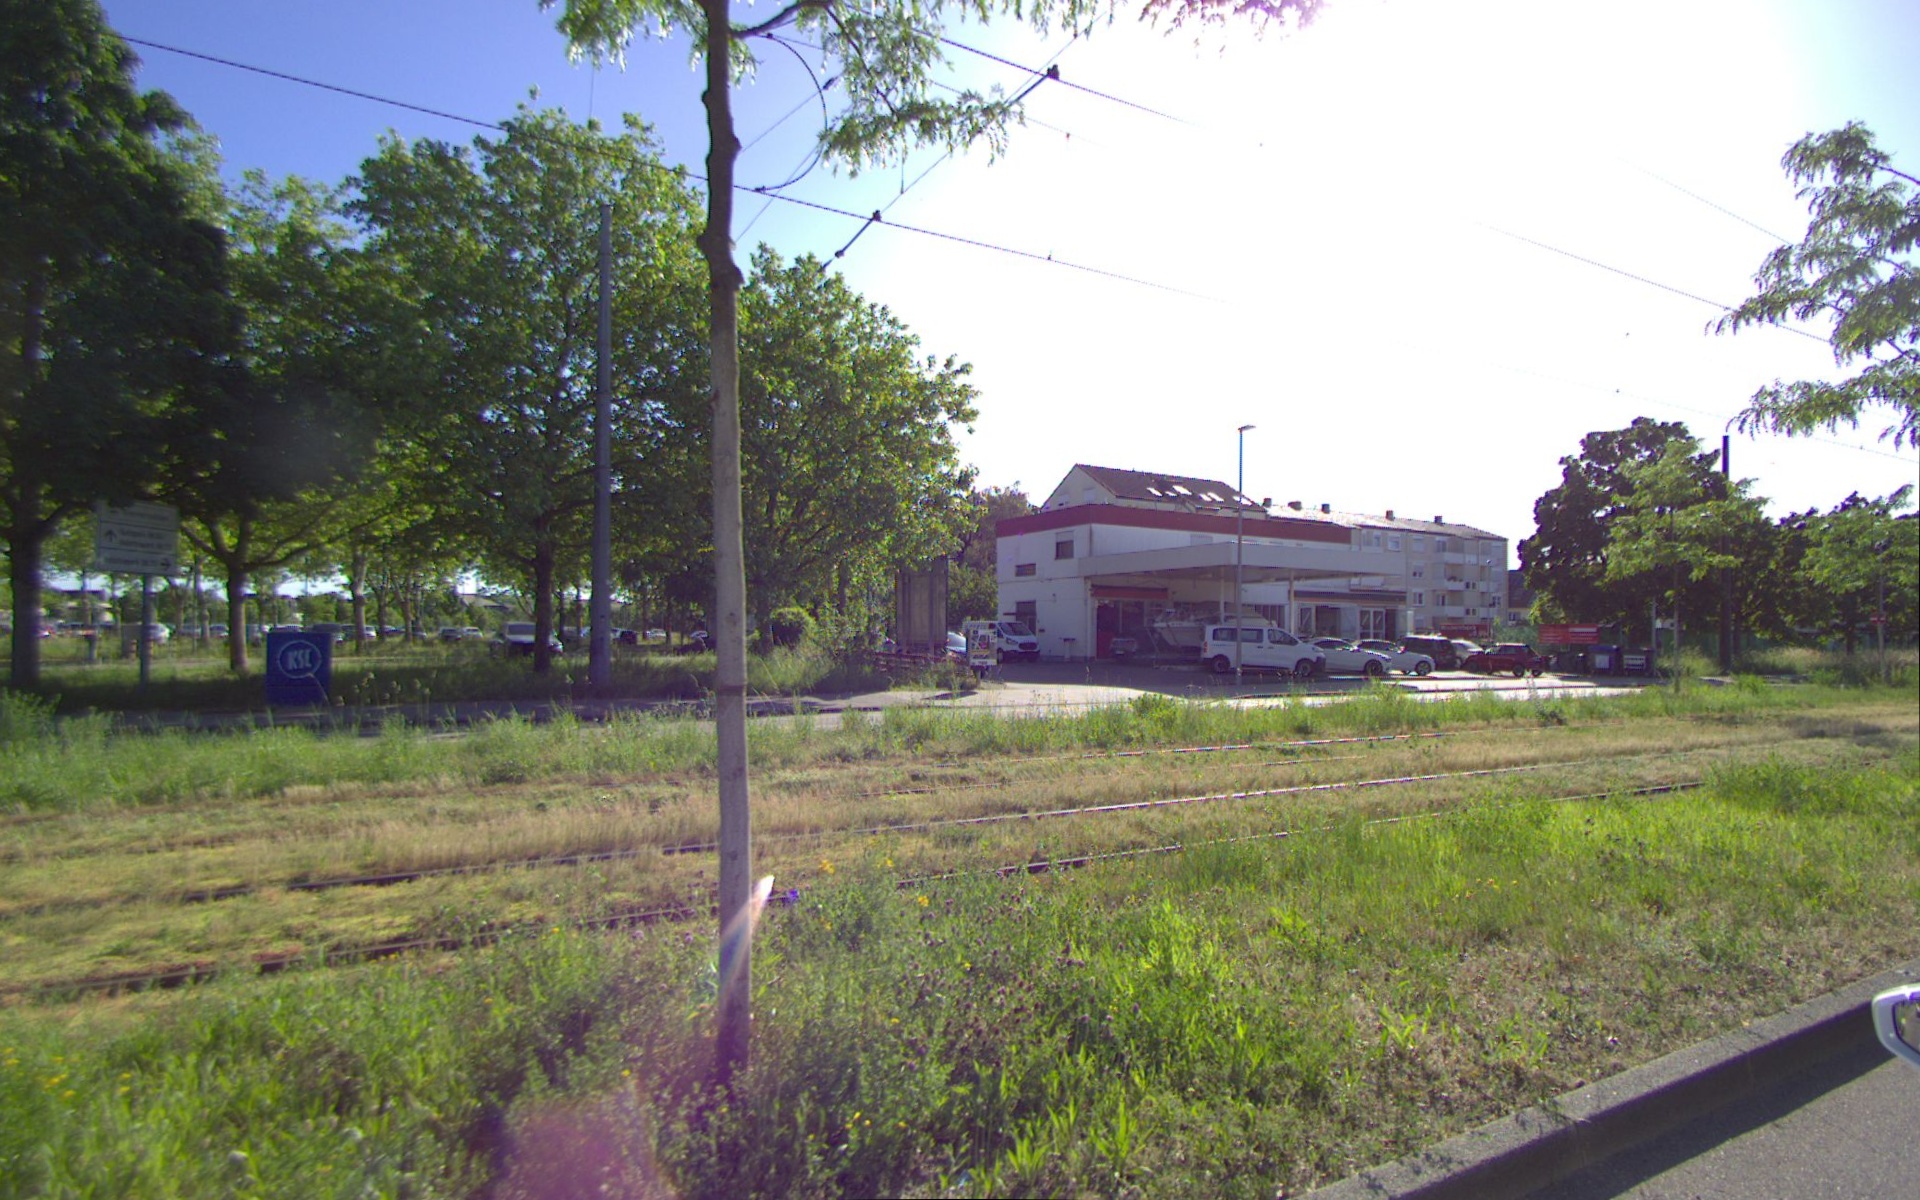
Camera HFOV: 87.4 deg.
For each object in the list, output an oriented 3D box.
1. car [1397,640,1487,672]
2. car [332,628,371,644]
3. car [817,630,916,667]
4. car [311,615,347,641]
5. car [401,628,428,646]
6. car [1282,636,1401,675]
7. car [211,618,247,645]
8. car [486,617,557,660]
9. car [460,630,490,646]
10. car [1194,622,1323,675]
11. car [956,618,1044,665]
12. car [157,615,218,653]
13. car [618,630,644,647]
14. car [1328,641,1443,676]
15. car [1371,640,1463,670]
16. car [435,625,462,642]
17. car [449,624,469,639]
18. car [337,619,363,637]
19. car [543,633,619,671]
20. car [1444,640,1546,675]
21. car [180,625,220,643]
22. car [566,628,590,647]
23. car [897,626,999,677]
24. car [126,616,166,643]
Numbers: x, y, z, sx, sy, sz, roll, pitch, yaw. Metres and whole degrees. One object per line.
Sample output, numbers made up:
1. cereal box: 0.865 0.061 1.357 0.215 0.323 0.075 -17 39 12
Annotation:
1. car: 25.605 2.946 53.494 1.772 1.589 4.050 2 -3 -31
2. car: -60.578 3.620 100.108 1.956 1.569 4.421 1 -2 -13
3. car: -4.083 2.134 44.129 4.036 1.565 1.572 2 -2 -27
4. car: -38.287 1.700 60.921 1.728 1.468 3.941 2 -2 -34
5. car: -47.196 3.161 86.821 1.649 1.451 3.941 2 -2 -34
6. car: 15.920 2.325 42.155 4.380 1.548 1.793 0 -2 8
7. car: -48.856 2.105 67.123 1.814 1.690 3.958 2 -2 -37
8. car: -15.815 1.374 36.105 1.649 1.451 3.941 2 -3 -34
9. car: -52.133 4.088 108.006 1.956 1.569 4.421 1 -2 -13
10. car: 11.807 1.910 40.001 4.689 2.000 1.862 0 -2 8
11. car: 1.854 1.979 48.116 1.998 2.119 4.699 2 -3 -30
12. car: -31.174 1.344 40.641 1.649 1.451 3.941 2 -2 -34
13. car: -31.199 3.650 95.298 1.956 1.569 4.421 1 -2 -13
14. car: 18.859 2.599 44.654 4.383 1.490 1.792 0 -2 0
15. car: 23.601 2.807 51.958 1.772 1.463 4.050 2 -3 -31
16. car: -44.908 2.945 88.150 1.649 1.451 3.941 2 -2 -34
17. car: -58.782 3.684 117.913 1.805 1.627 3.978 2 -2 -23
18. car: -51.175 2.358 84.181 1.649 1.451 3.941 2 -2 -34
19. car: -13.279 1.786 35.034 1.648 1.182 3.942 2 -2 -33
20. car: 25.737 2.759 48.447 1.772 1.589 4.050 2 -3 -31
21. car: -69.493 3.122 91.919 1.964 1.569 4.403 2 -2 -26
22. car: -35.225 3.424 92.578 1.805 1.627 3.978 2 -2 -23
23. car: -0.484 1.816 35.985 1.713 1.545 3.940 5 -3 -34
24. car: -52.553 1.910 64.871 1.814 1.690 3.958 2 -2 -37
